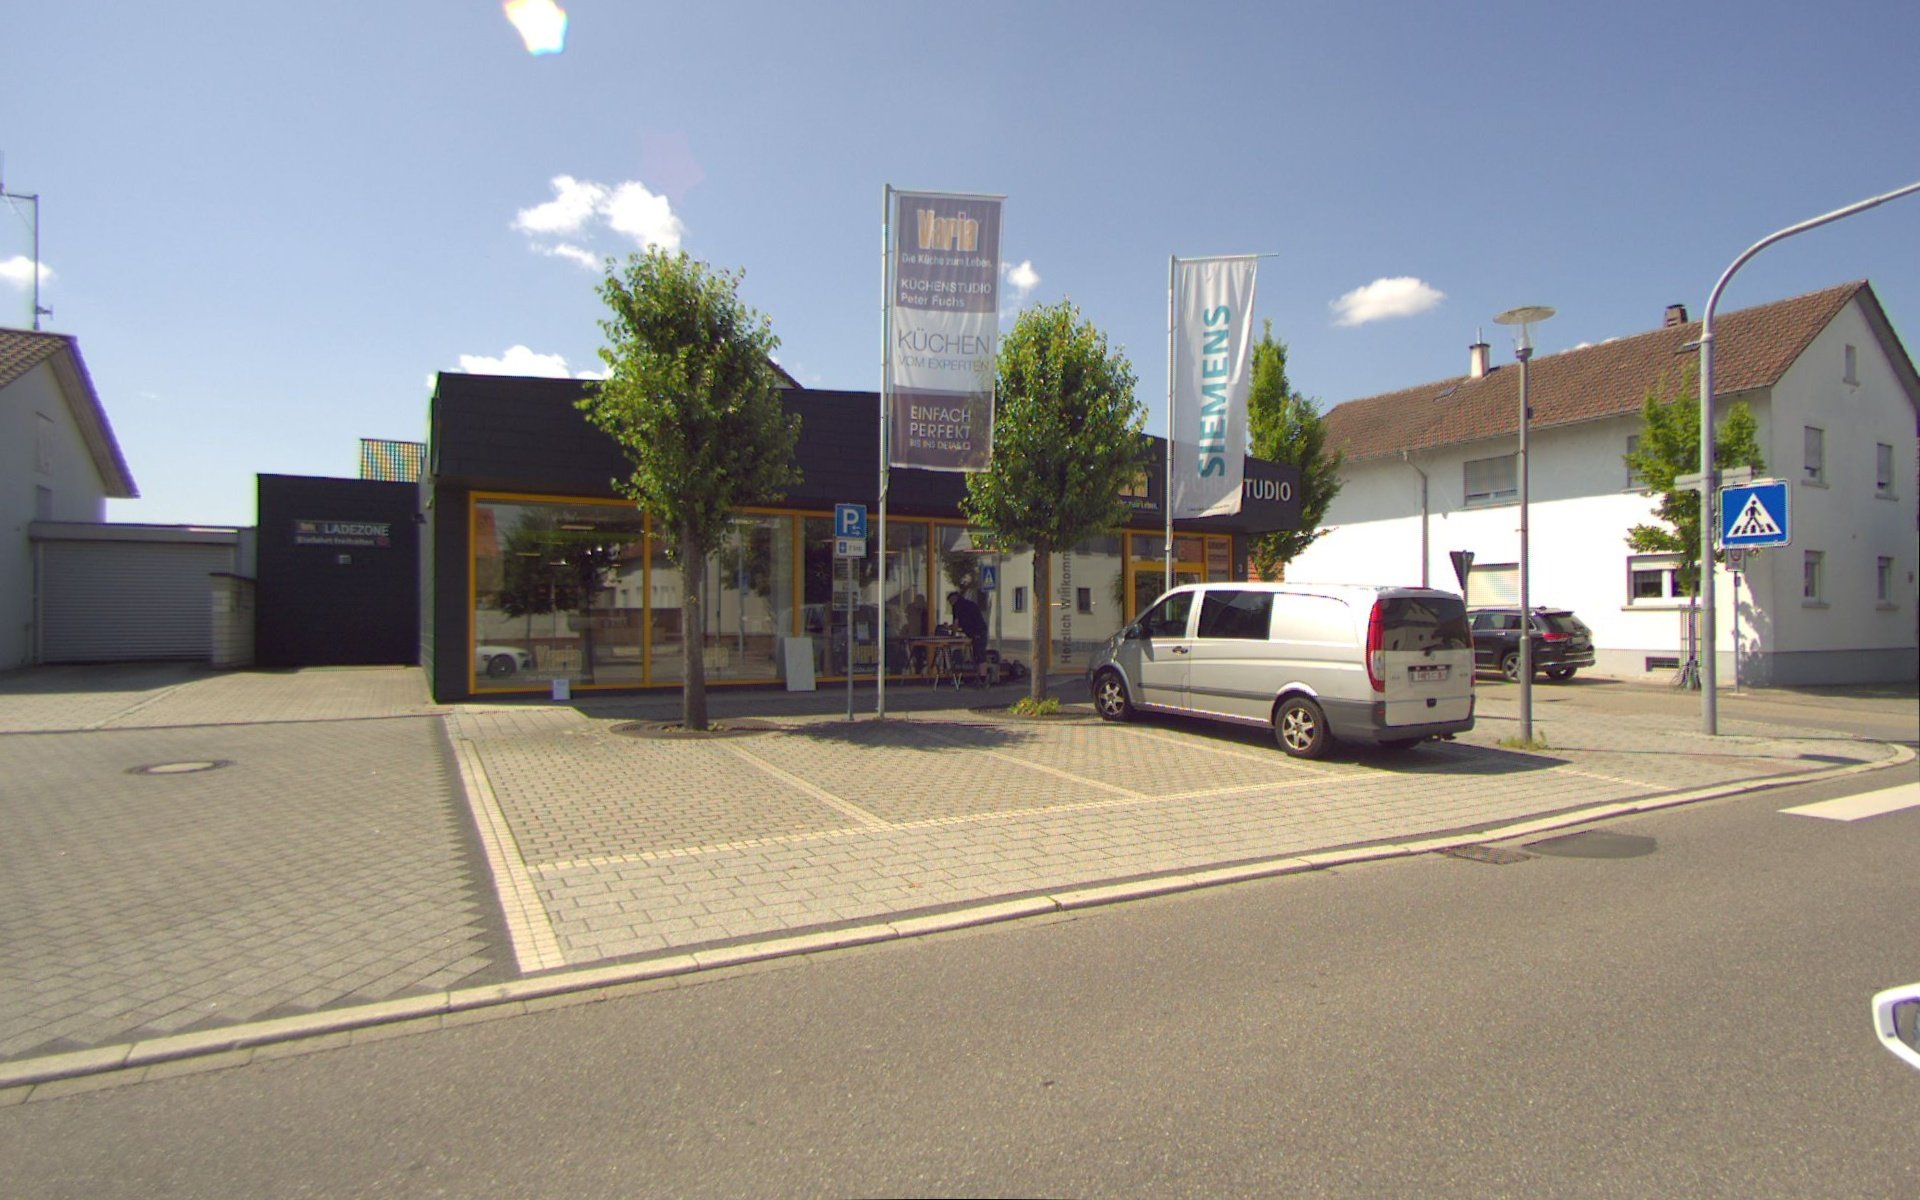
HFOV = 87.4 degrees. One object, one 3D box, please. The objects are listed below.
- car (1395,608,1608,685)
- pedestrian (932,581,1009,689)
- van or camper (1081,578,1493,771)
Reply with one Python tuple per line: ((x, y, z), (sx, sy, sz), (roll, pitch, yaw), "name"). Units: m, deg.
((13.570, 1.091, 25.458), (1.976, 1.739, 4.405), (-1, 0, -29), "car")
((0.186, 0.600, 17.369), (1.050, 1.798, 0.934), (0, -1, 24), "pedestrian")
((3.706, 0.709, 12.359), (1.977, 1.887, 4.717), (0, 1, -30), "van or camper")
